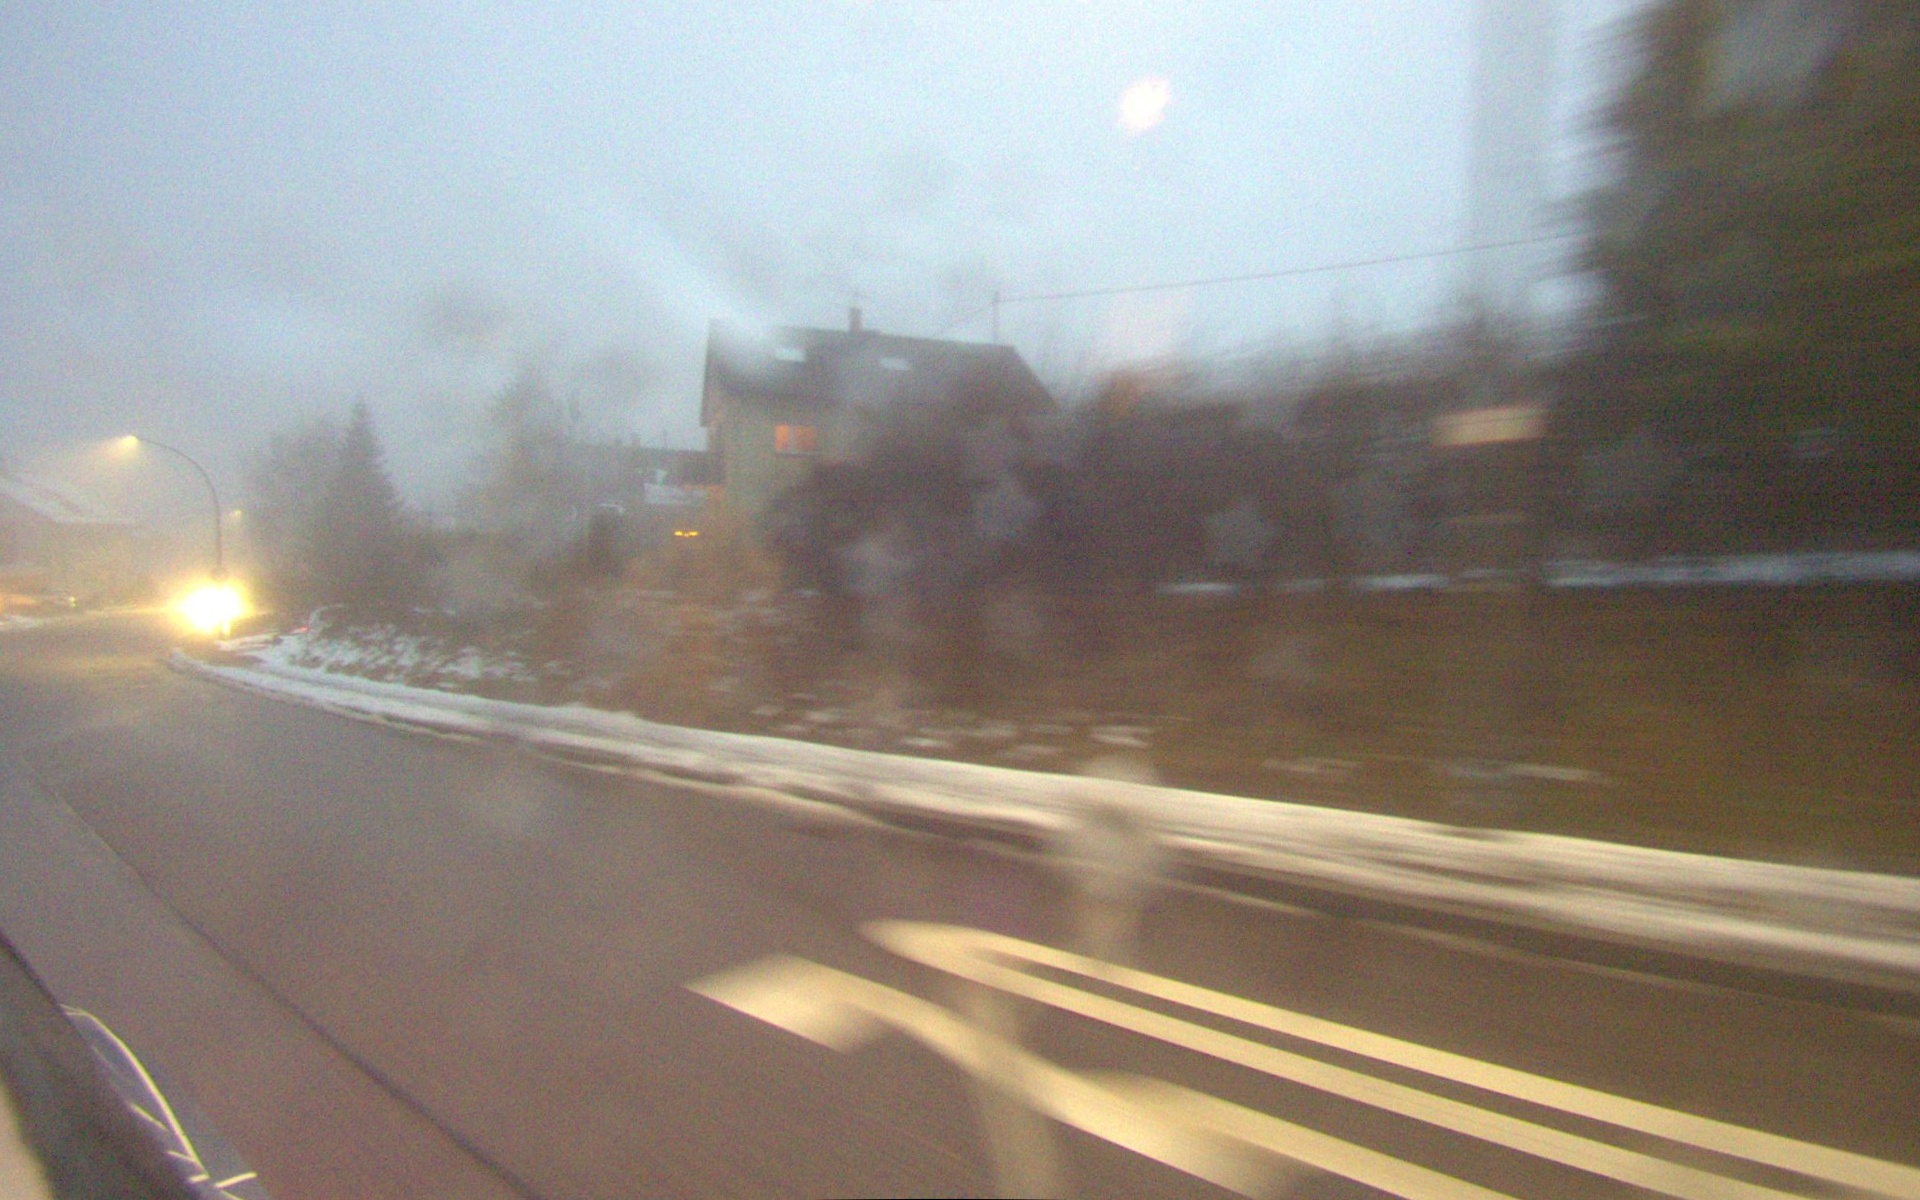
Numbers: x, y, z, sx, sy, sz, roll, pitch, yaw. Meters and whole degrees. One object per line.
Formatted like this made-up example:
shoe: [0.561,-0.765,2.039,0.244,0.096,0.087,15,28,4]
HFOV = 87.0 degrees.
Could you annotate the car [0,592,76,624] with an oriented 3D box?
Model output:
car: [-60.965,0.520,66.272,4.147,1.872,1.918,2,1,-18]

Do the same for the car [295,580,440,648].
car: [-20.034,0.420,34.434,3.935,1.619,1.910,-10,6,-26]
